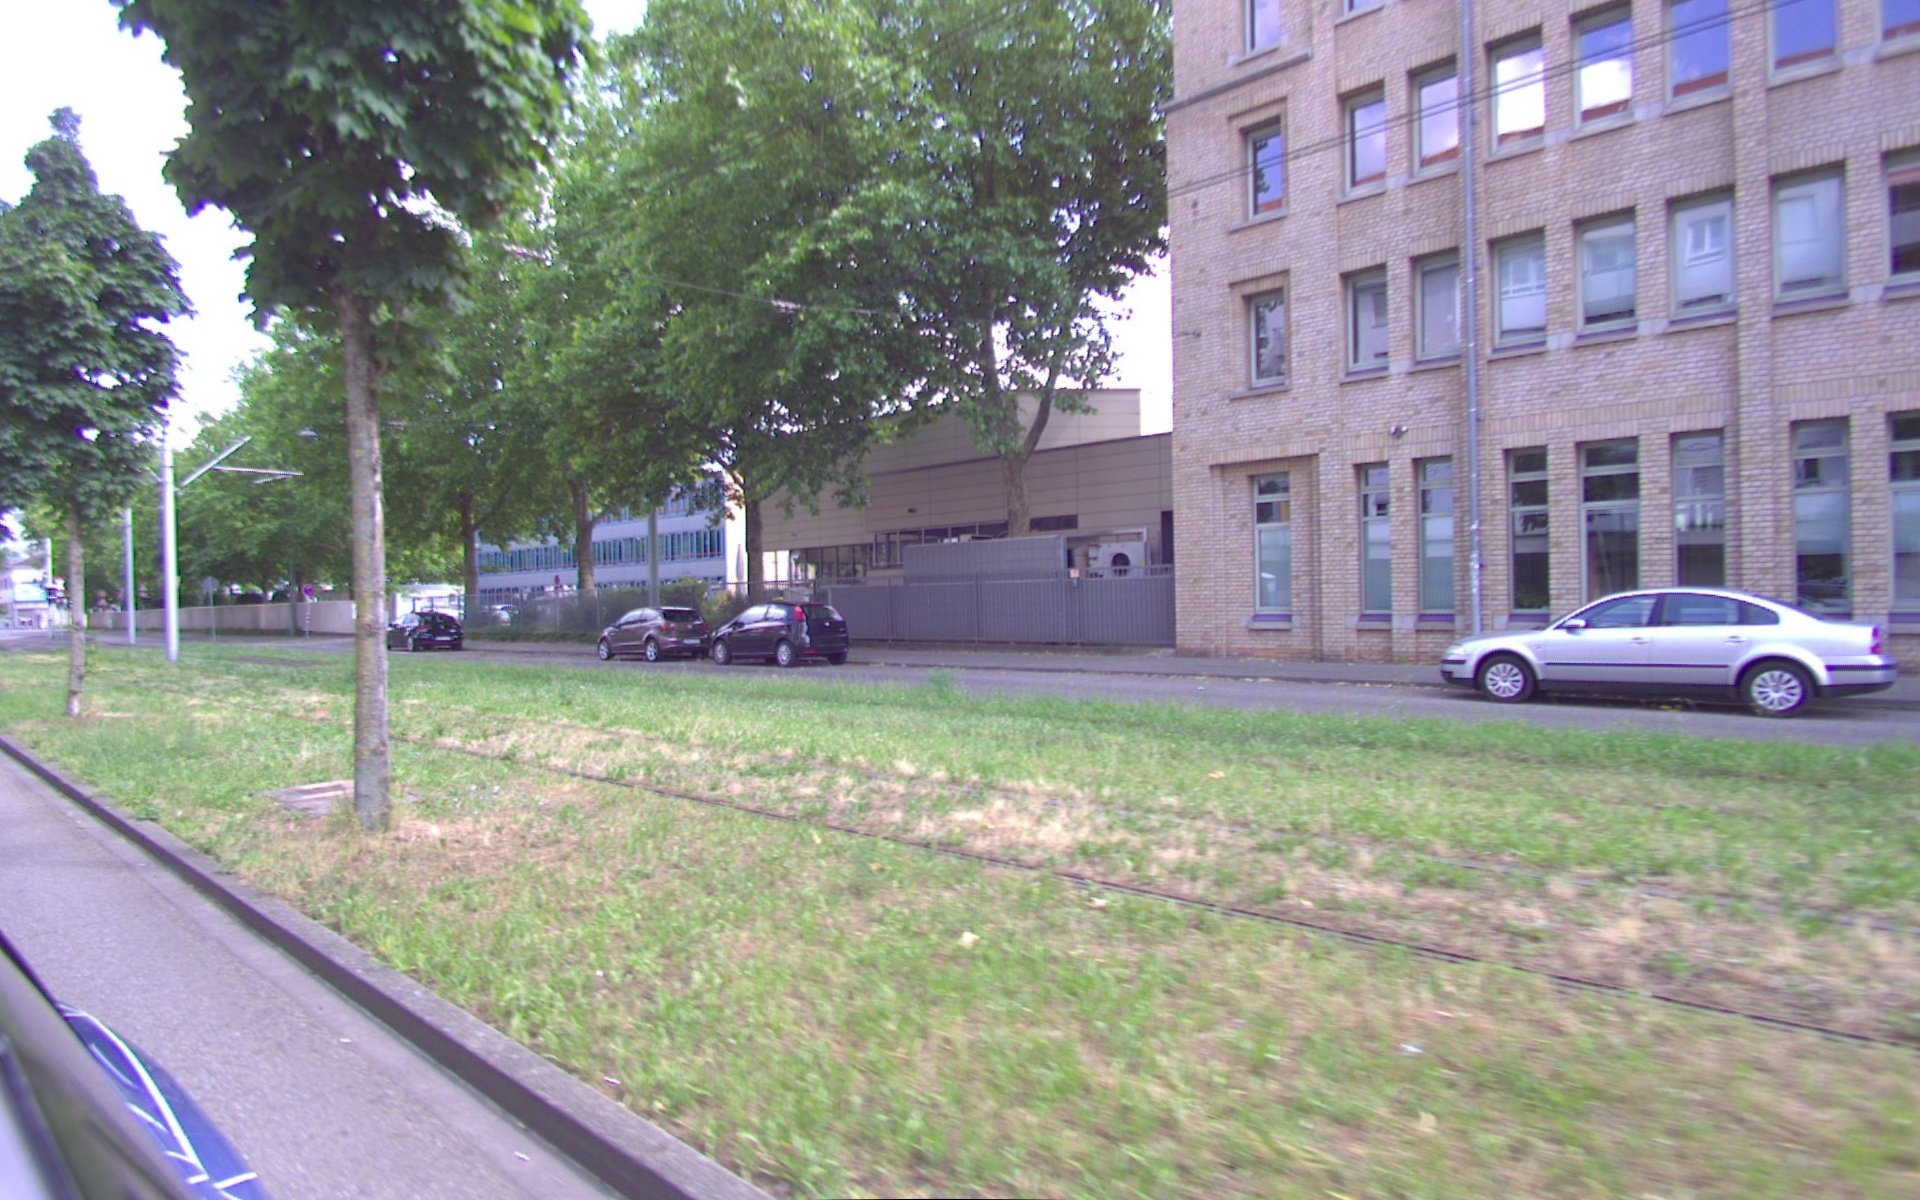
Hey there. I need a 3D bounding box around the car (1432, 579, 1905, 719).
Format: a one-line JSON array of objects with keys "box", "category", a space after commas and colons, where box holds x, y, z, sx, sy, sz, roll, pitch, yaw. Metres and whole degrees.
[{"box": [8.383, 0.519, 12.302, 4.484, 1.406, 1.697, -1, 0, 43], "category": "car"}]

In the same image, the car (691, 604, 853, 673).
[{"box": [-4.509, 0.873, 23.935, 4.002, 1.464, 1.782, -1, 0, 45], "category": "car"}]

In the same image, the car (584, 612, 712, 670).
[{"box": [-8.571, 1.076, 27.612, 3.900, 1.436, 1.538, -1, 0, 42], "category": "car"}]

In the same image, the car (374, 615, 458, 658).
[{"box": [-20.474, 1.349, 38.018, 4.000, 1.475, 1.580, -1, 0, 43], "category": "car"}]
